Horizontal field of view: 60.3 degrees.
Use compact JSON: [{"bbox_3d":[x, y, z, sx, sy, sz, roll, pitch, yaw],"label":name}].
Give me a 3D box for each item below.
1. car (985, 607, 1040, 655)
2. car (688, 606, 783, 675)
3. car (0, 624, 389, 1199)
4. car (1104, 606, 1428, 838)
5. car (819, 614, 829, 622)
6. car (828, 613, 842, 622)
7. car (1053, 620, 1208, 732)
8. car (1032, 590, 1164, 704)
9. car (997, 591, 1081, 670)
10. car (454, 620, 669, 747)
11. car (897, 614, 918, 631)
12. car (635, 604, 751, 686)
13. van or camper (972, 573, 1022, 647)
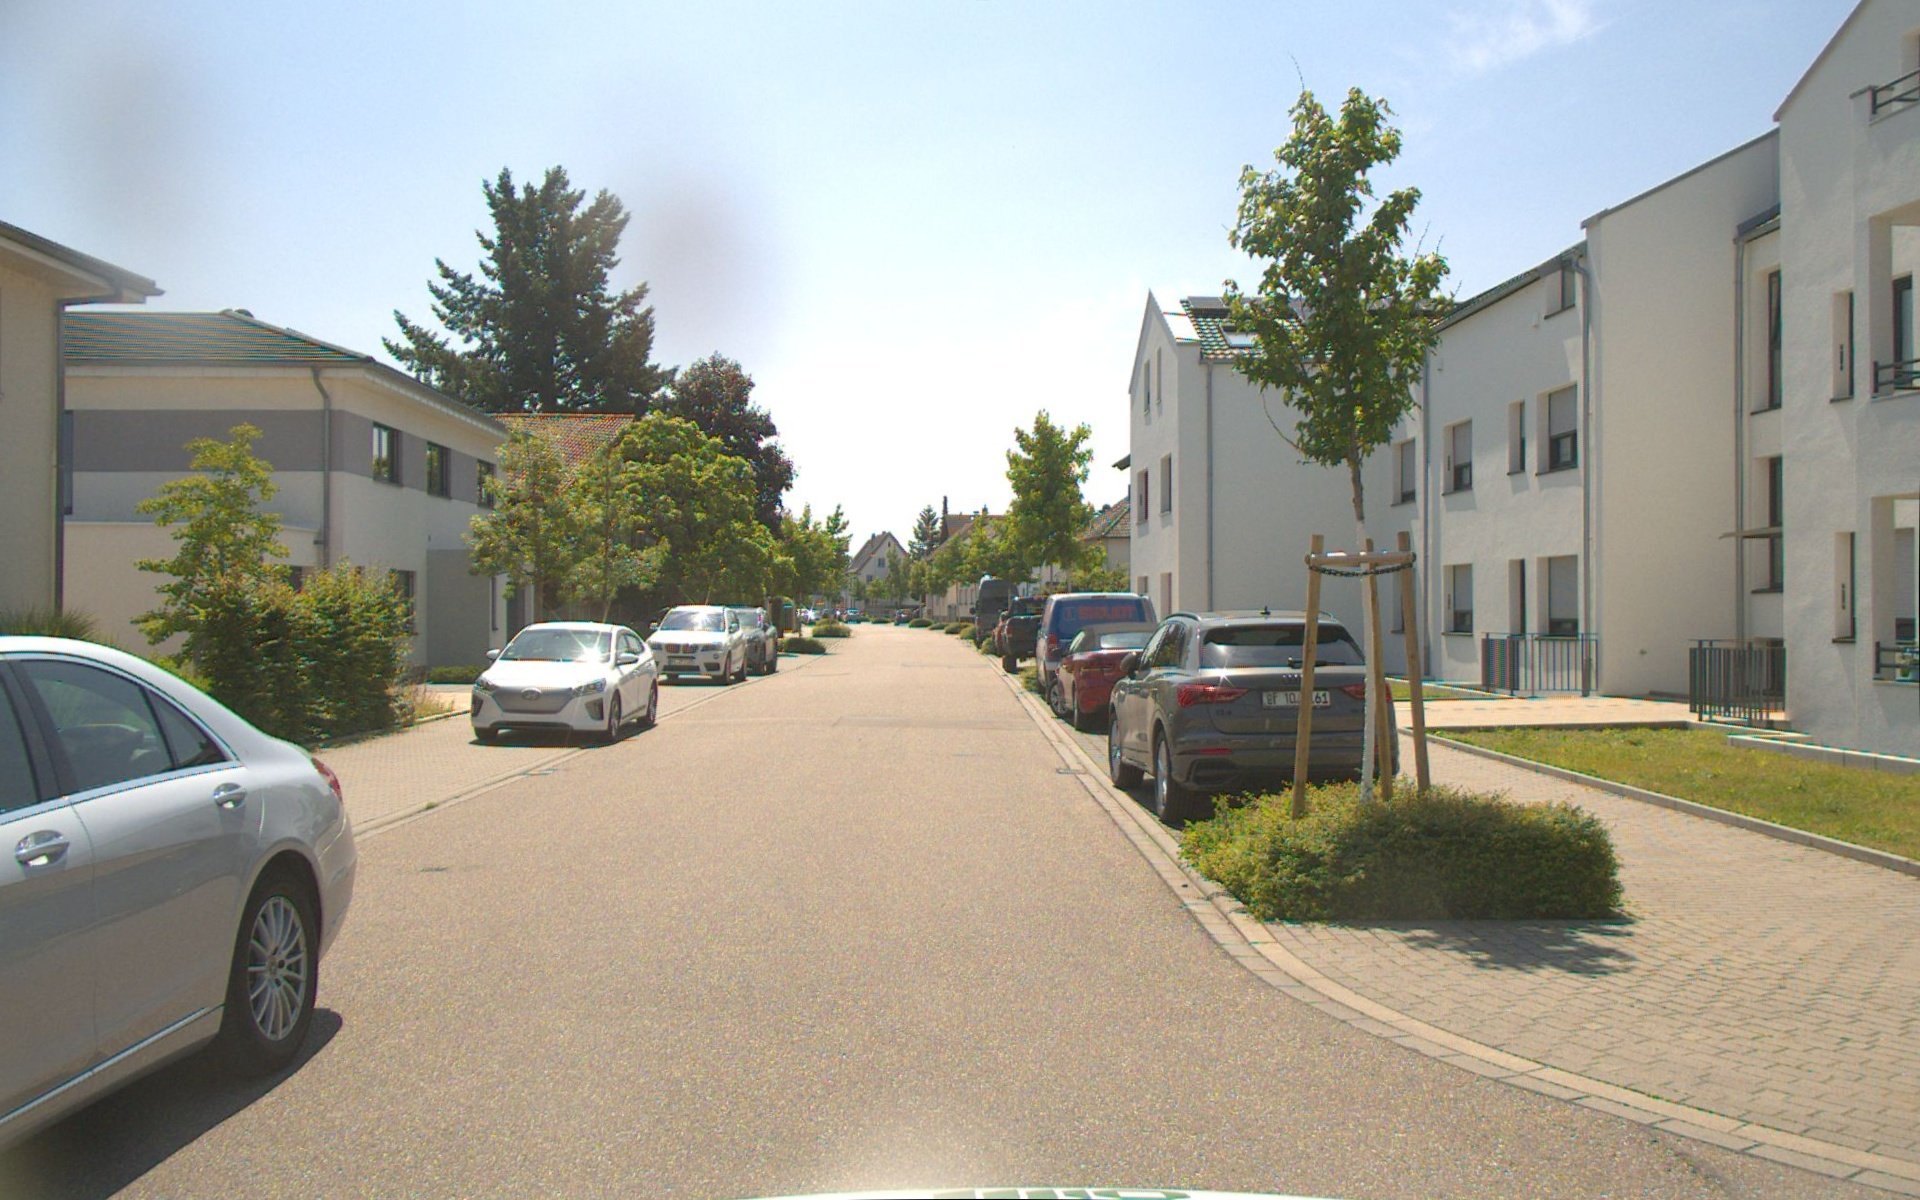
[{"bbox_3d":[1.838,1.087,58.845,1.636,1.623,3.554,-1,-1,-3],"label":"car"},{"bbox_3d":[-5.862,1.043,43.624,1.953,1.710,4.214,0,-1,0],"label":"car"},{"bbox_3d":[-3.177,0.857,4.125,1.815,1.504,4.699,-2,-1,0],"label":"car"},{"bbox_3d":[2.363,0.885,13.891,1.738,1.623,4.276,-1,-1,-3],"label":"car"},{"bbox_3d":[-19.185,2.533,233.248,1.167,1.089,3.046,0,0,-10],"label":"car"},{"bbox_3d":[-16.977,2.371,224.083,1.632,1.272,3.924,0,-1,-8],"label":"car"},{"bbox_3d":[2.364,1.025,23.870,1.646,1.467,4.024,0,-1,-3],"label":"car"},{"bbox_3d":[2.438,0.815,30.428,2.056,1.915,4.842,0,-1,0],"label":"car"},{"bbox_3d":[2.088,0.814,44.925,1.953,1.981,5.214,-1,-1,0],"label":"car"},{"bbox_3d":[-5.225,1.040,22.282,1.814,1.514,4.384,1,-1,0],"label":"car"},{"bbox_3d":[-5.165,2.251,163.727,1.953,1.601,3.999,-1,-1,0],"label":"car"},{"bbox_3d":[-5.906,0.961,37.097,1.888,1.716,4.497,0,-1,0],"label":"car"},{"bbox_3d":[1.529,0.435,69.589,1.953,2.993,3.999,-1,-1,-1],"label":"van or camper"}]
